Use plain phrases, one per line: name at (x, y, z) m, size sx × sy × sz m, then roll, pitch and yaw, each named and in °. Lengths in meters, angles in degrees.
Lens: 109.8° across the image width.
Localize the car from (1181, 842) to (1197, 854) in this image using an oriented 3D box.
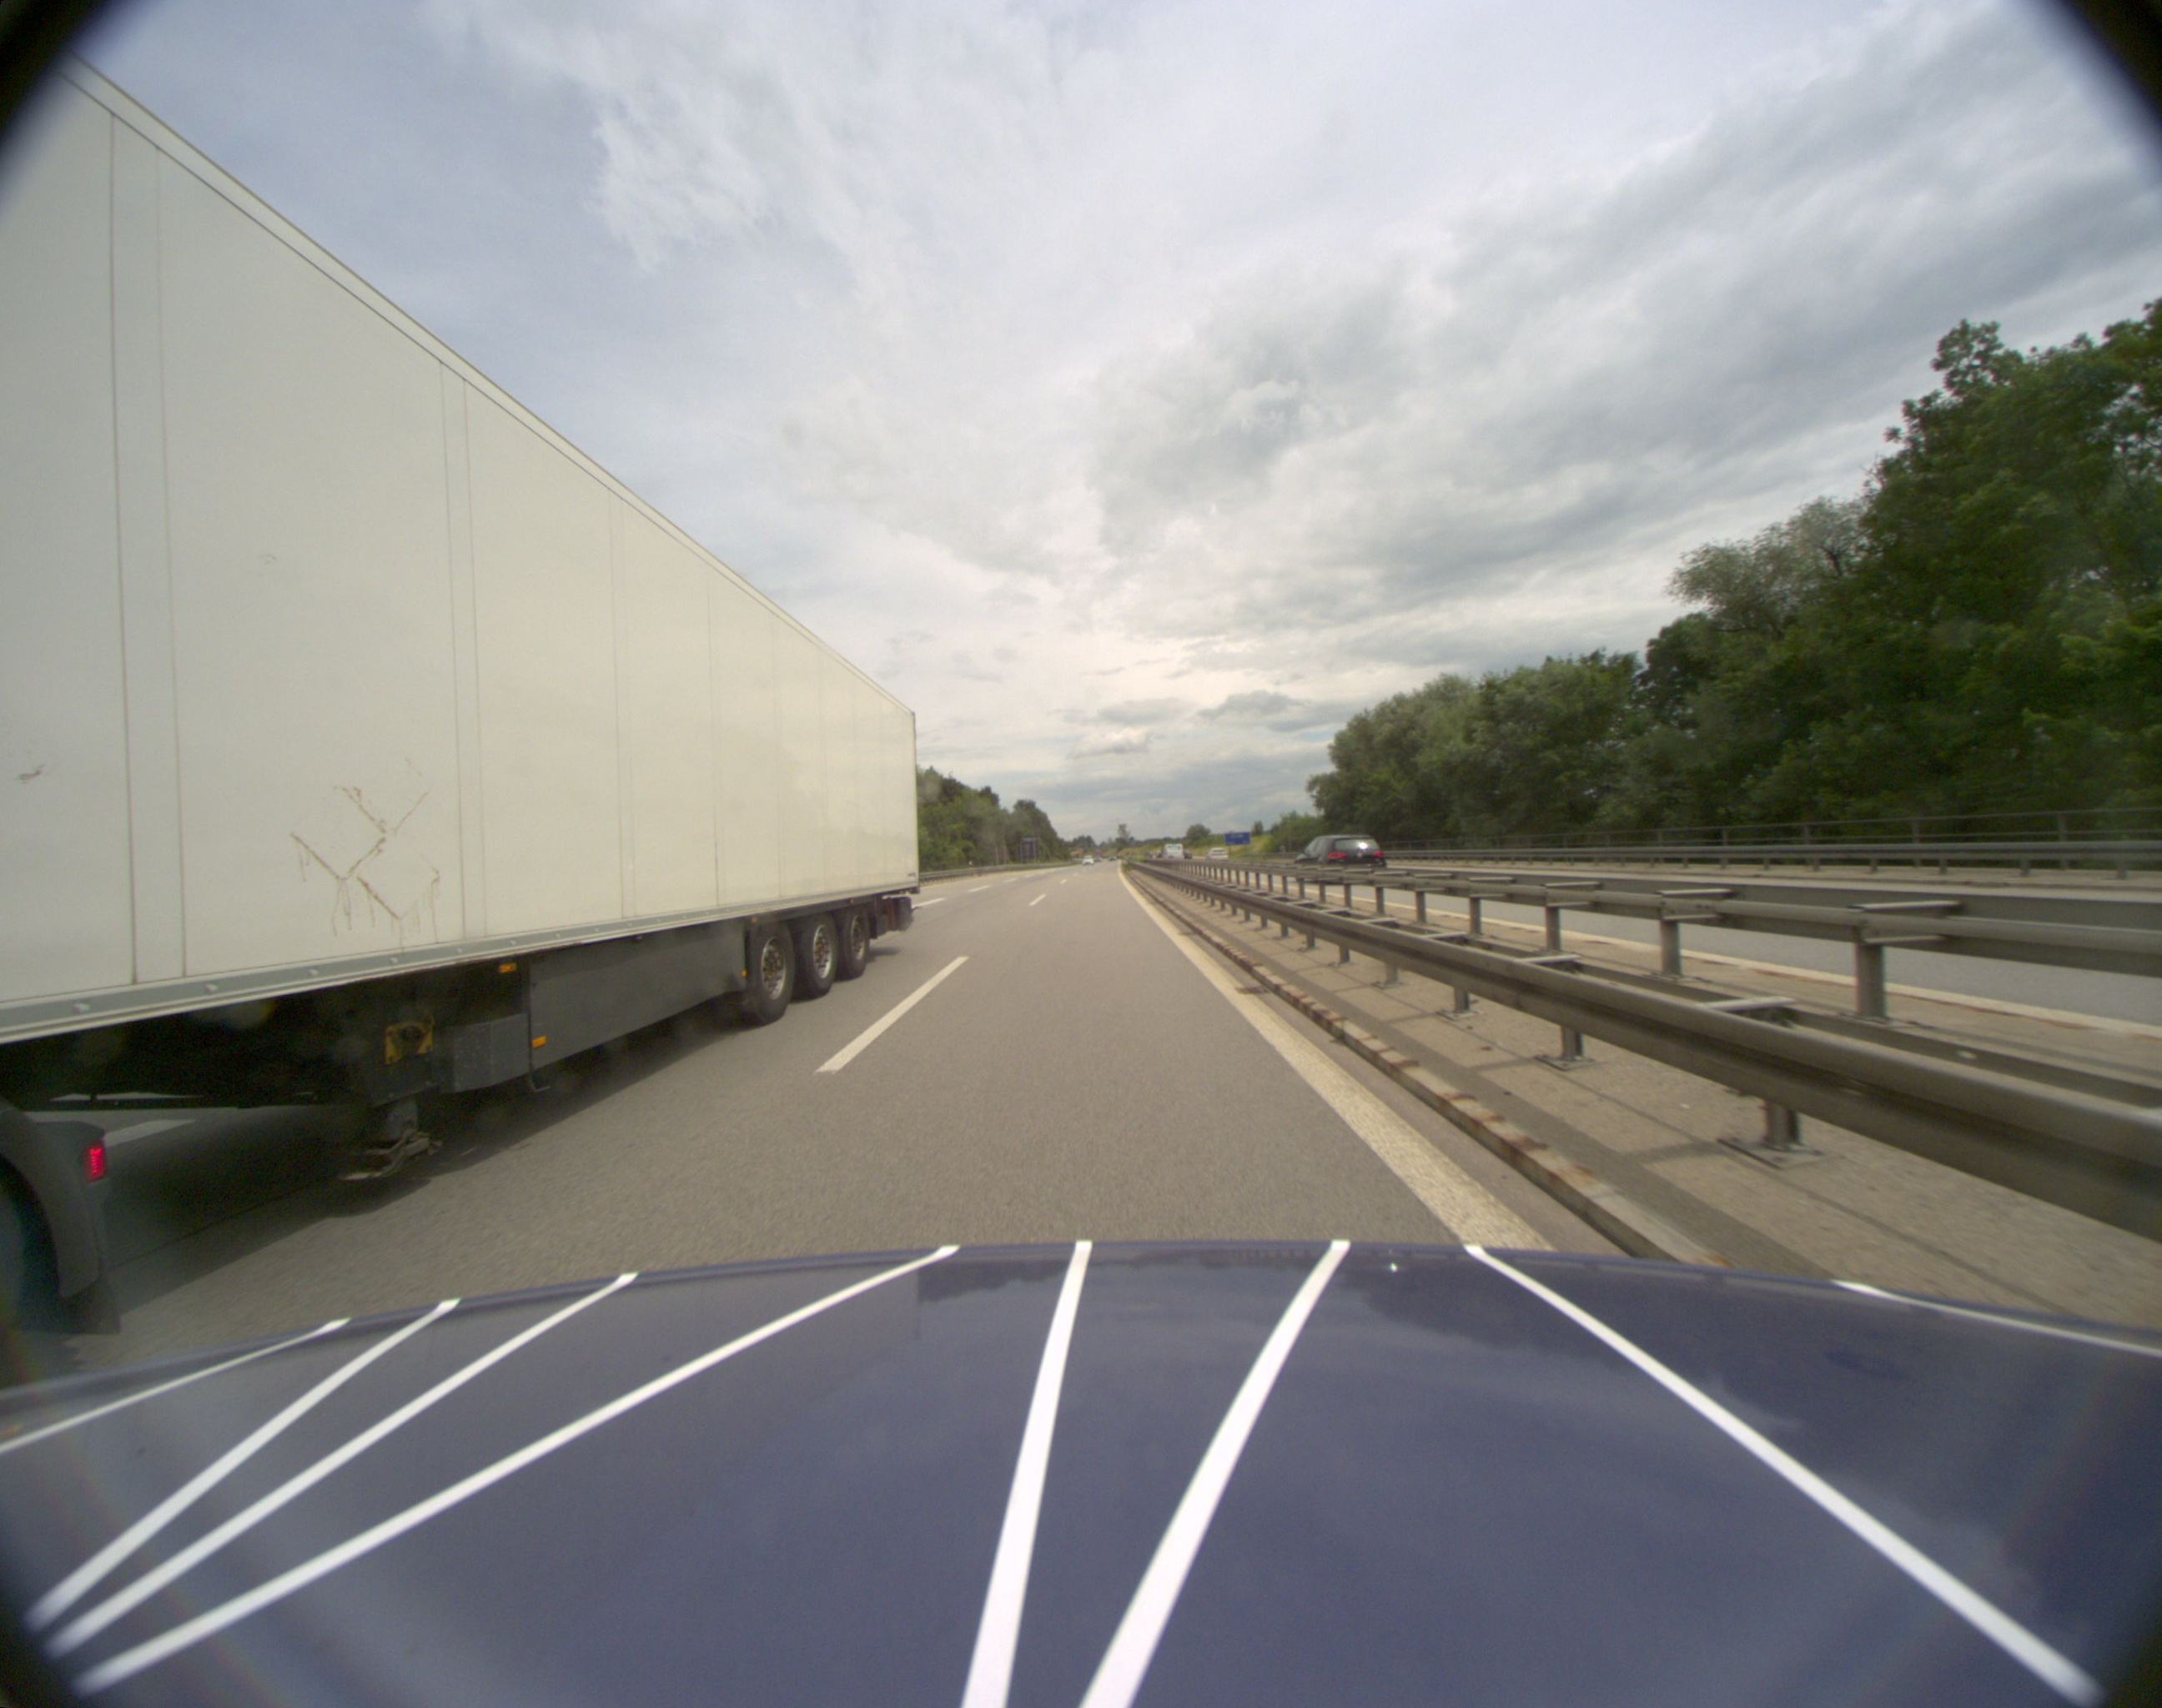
car at (14.857, -0.826, 104.425) m, size 1.733 × 1.550 × 4.332 m, roll -3°, pitch 0°, yaw 3°

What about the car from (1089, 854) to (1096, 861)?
car at (3.032, 0.885, 192.460) m, size 1.649 × 1.686 × 4.737 m, roll -3°, pitch 0°, yaw 2°

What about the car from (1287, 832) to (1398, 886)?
car at (7.543, 0.119, 22.396) m, size 1.690 × 1.368 × 4.358 m, roll -3°, pitch 0°, yaw 0°

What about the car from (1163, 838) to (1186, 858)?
car at (9.922, -0.629, 80.727) m, size 1.776 × 1.899 × 4.714 m, roll -4°, pitch 0°, yaw 0°

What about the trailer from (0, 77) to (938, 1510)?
trailer at (-4.301, -0.174, 6.140) m, size 3.069 × 3.868 × 13.791 m, roll -2°, pitch 0°, yaw 2°

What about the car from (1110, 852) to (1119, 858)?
car at (8.278, 0.231, 187.019) m, size 1.775 × 1.474 × 4.696 m, roll -3°, pitch 0°, yaw -2°

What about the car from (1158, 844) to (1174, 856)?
car at (11.822, -0.555, 105.933) m, size 1.850 × 1.603 × 4.946 m, roll -3°, pitch 1°, yaw 2°

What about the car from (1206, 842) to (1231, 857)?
car at (13.754, -0.429, 76.050) m, size 1.850 × 1.430 × 3.936 m, roll -2°, pitch 1°, yaw 2°

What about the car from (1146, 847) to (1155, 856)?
car at (14.104, -0.510, 154.492) m, size 1.729 × 1.641 × 4.224 m, roll -3°, pitch 0°, yaw 3°

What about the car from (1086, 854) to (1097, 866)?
car at (1.793, 0.984, 130.061) m, size 1.775 × 1.813 × 4.165 m, roll -3°, pitch 0°, yaw 0°
